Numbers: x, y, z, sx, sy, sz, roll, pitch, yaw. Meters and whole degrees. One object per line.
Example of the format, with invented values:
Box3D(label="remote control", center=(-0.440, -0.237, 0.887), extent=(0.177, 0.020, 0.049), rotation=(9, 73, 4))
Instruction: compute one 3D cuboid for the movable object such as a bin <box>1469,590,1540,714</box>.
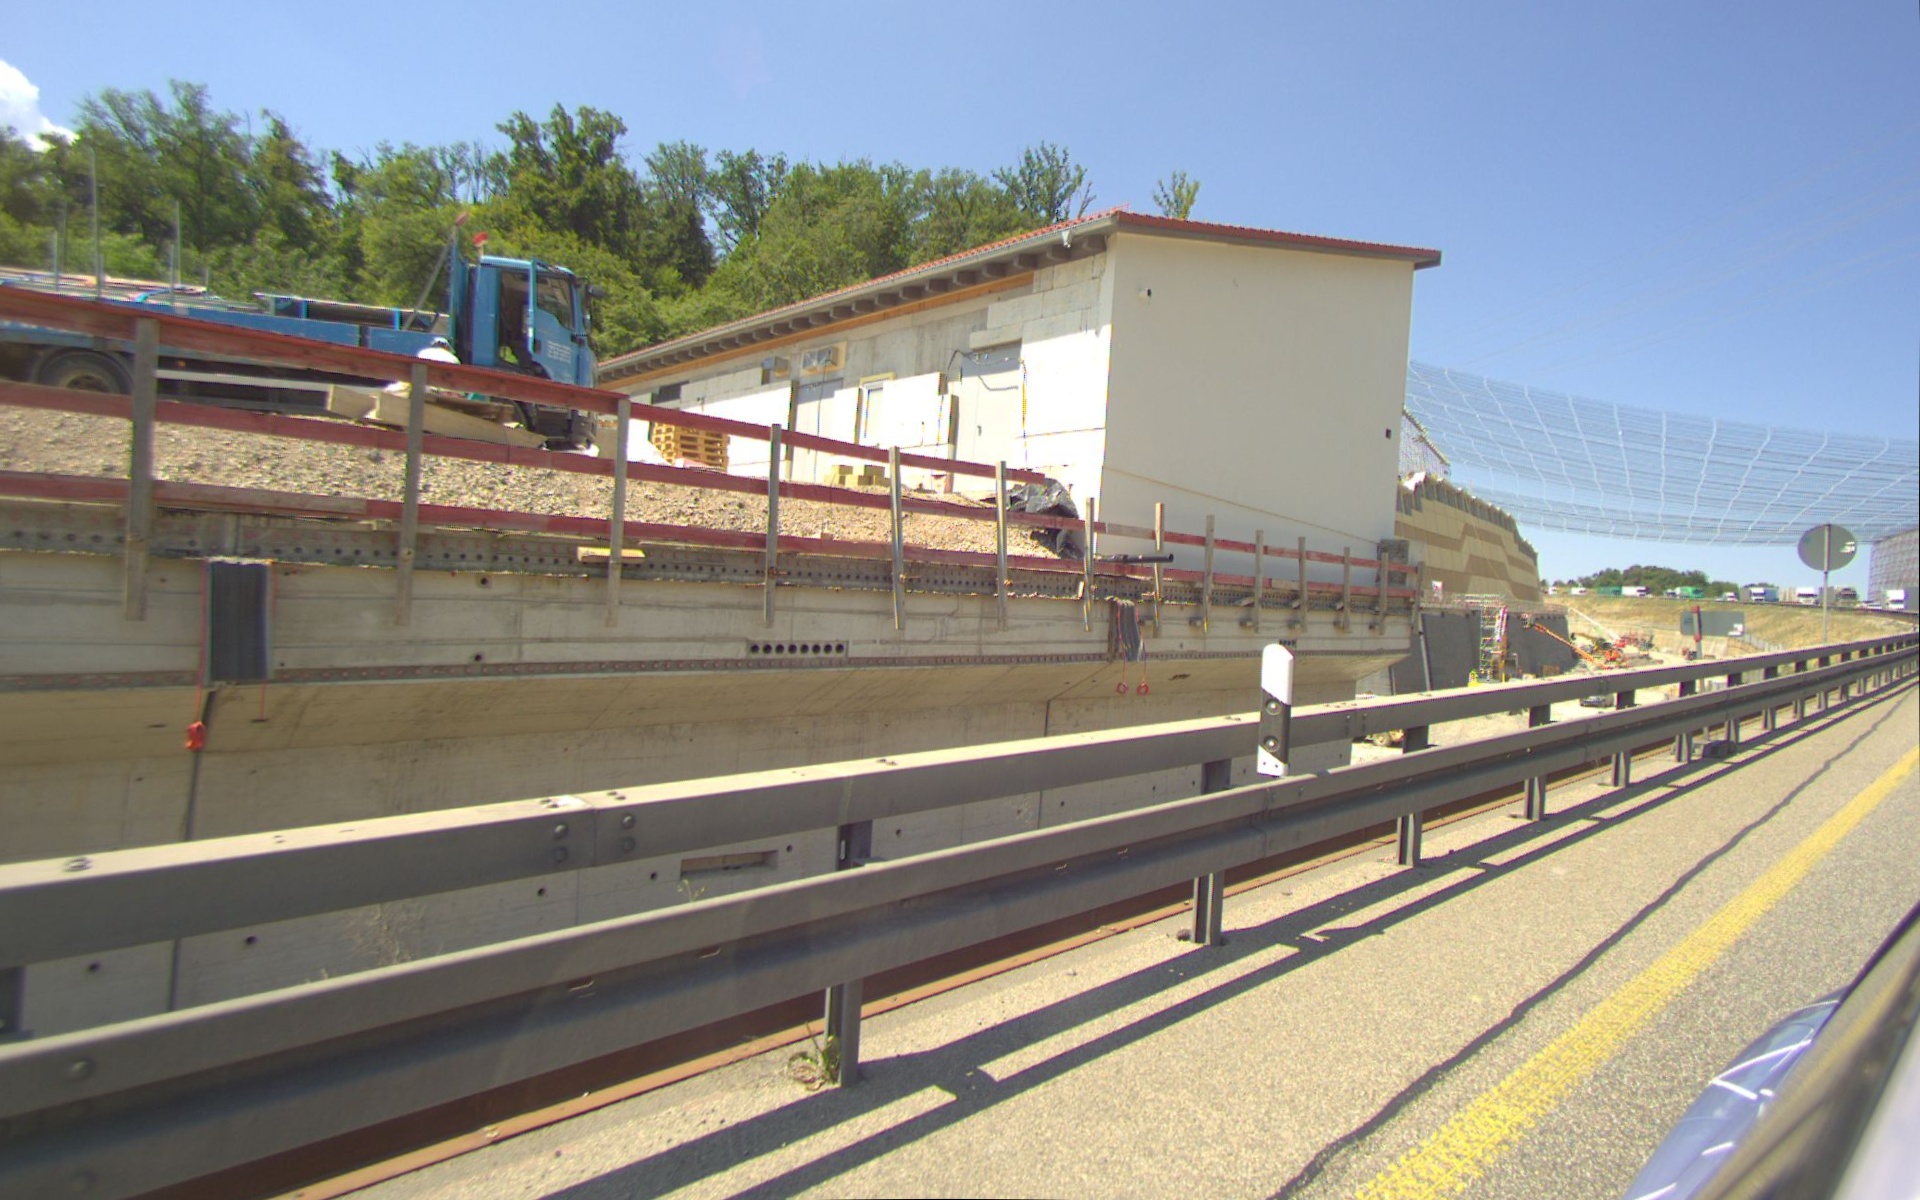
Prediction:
Box3D(label="movable object such as a bin", center=(34.433, 3.090, 63.897), extent=(2.919, 7.446, 6.155), rotation=(-1, 0, 38))

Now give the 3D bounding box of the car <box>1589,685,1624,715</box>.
Box3D(label="car", center=(54.978, 8.467, 86.040), extent=(1.992, 2.039, 3.941), rotation=(-1, 0, 41))

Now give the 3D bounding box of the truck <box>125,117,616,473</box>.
Box3D(label="truck", center=(-8.126, -4.108, 14.854), extent=(5.590, 3.742, 2.725), rotation=(3, -1, -17))

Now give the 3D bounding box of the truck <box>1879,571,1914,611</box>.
Box3D(label="truck", center=(116.113, -1.140, 125.567), extent=(3.031, 4.866, 8.807), rotation=(-1, 0, 42))

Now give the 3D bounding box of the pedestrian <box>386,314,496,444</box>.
Box3D(label="pedestrian", center=(-5.831, -2.430, 11.350), extent=(0.975, 1.165, 1.023), rotation=(-1, 0, -35))

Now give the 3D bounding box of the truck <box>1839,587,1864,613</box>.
Box3D(label="truck", center=(148.584, -0.064, 168.720), extent=(3.031, 4.107, 8.545), rotation=(-1, 0, 42))

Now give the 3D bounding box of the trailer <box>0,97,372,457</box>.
Box3D(label="trailer", center=(-13.132, -4.305, 13.287), extent=(8.805, 3.742, 2.725), rotation=(3, -1, -17))

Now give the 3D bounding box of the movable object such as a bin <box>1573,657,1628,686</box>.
Box3D(label="movable object such as a bin", center=(70.024, 7.808, 110.764), extent=(2.176, 2.669, 5.506), rotation=(-1, 0, -5))

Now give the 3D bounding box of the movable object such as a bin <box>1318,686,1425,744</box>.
Box3D(label="movable object such as a bin", center=(22.536, 6.253, 55.541), extent=(2.023, 2.625, 5.115), rotation=(1, -1, -40))
